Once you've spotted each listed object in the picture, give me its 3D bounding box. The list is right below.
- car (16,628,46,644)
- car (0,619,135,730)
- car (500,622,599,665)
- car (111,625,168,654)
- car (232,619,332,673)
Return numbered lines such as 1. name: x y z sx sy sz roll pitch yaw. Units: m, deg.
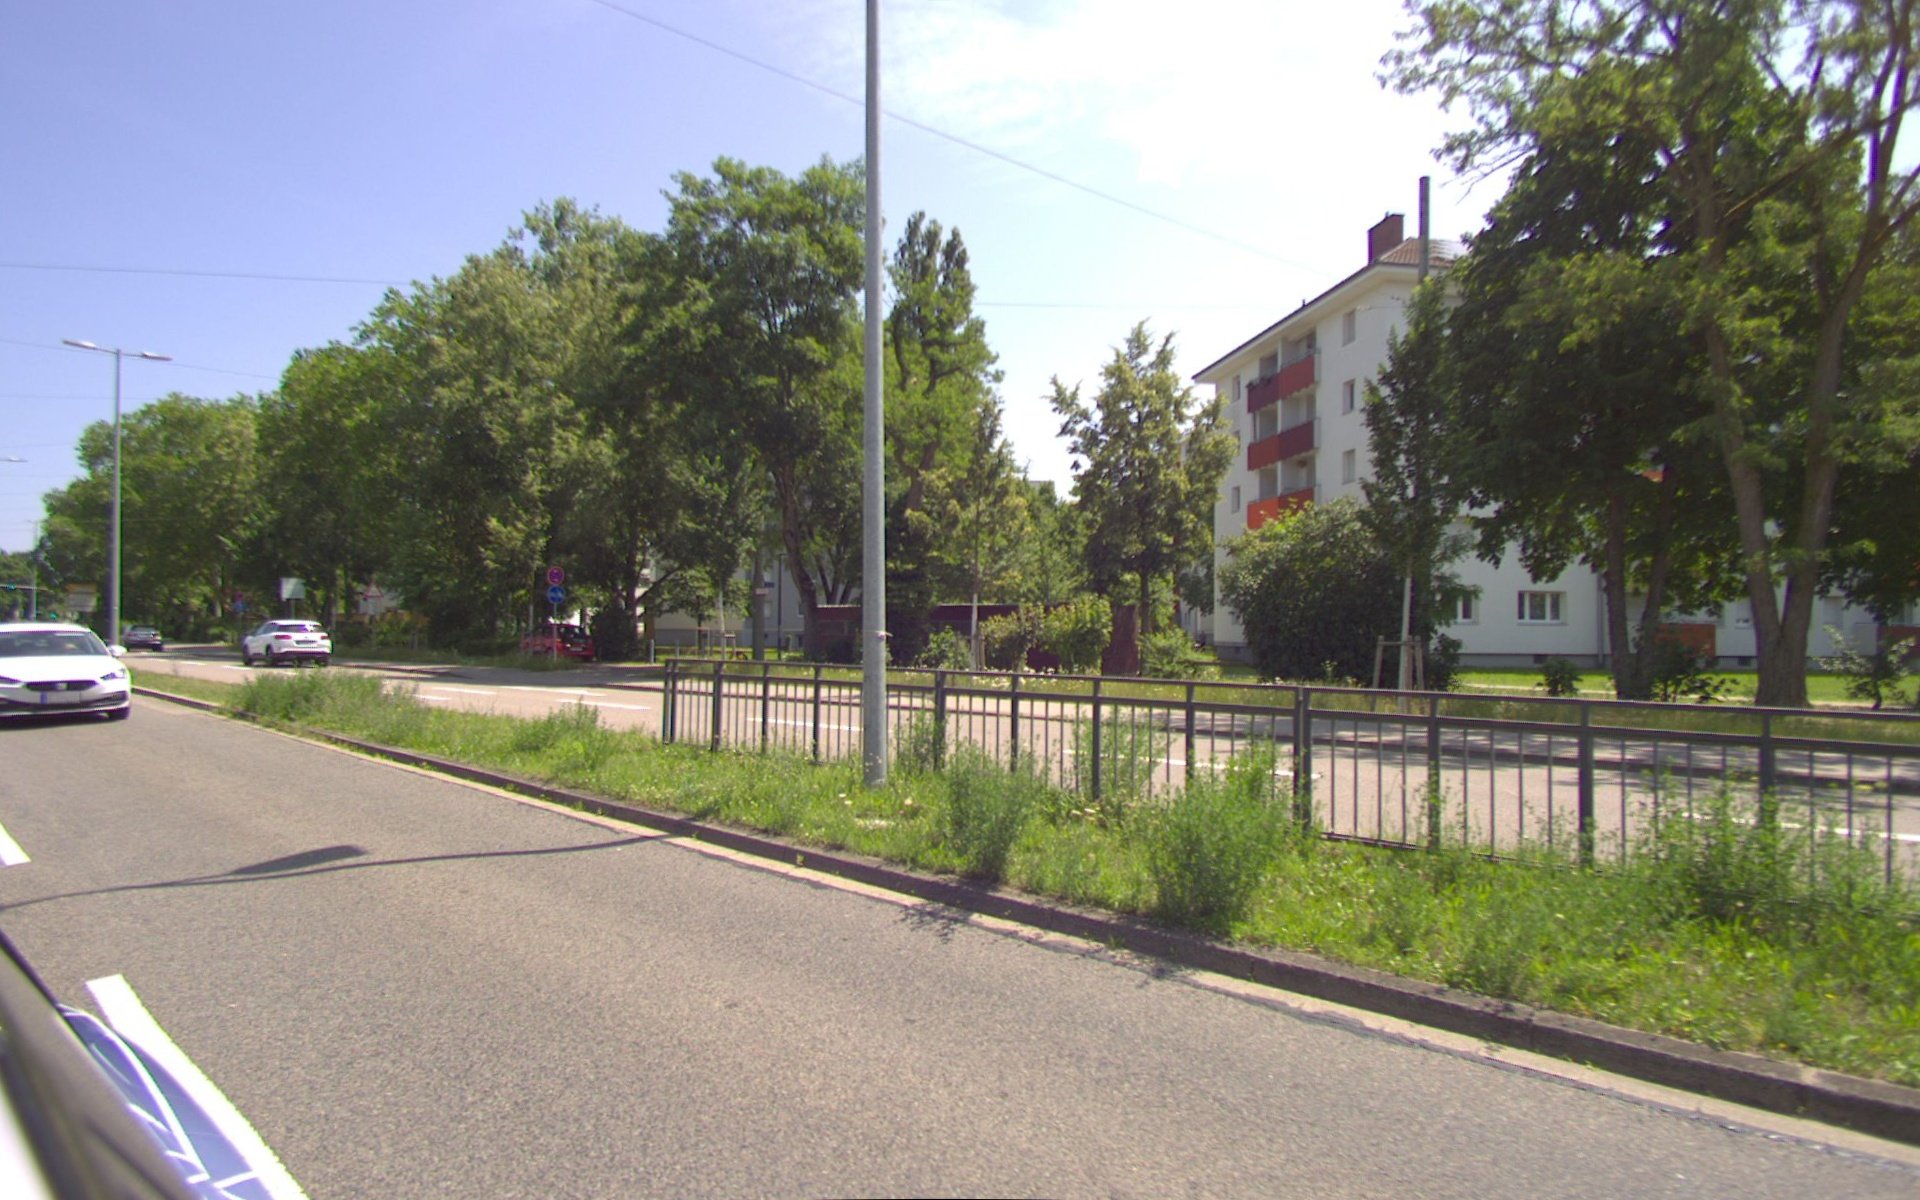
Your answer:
1. car: -91.737 3.504 99.913 4.635 1.520 1.721 -1 -3 43
2. car: -14.159 1.052 15.455 4.109 1.479 1.749 -1 -1 41
3. car: -16.086 1.685 39.573 3.998 1.597 1.973 -2 -3 41
4. car: -46.189 2.223 56.955 4.080 1.566 1.749 -1 -3 40
5. car: -24.564 1.646 36.602 4.478 1.772 1.840 0 -4 41
